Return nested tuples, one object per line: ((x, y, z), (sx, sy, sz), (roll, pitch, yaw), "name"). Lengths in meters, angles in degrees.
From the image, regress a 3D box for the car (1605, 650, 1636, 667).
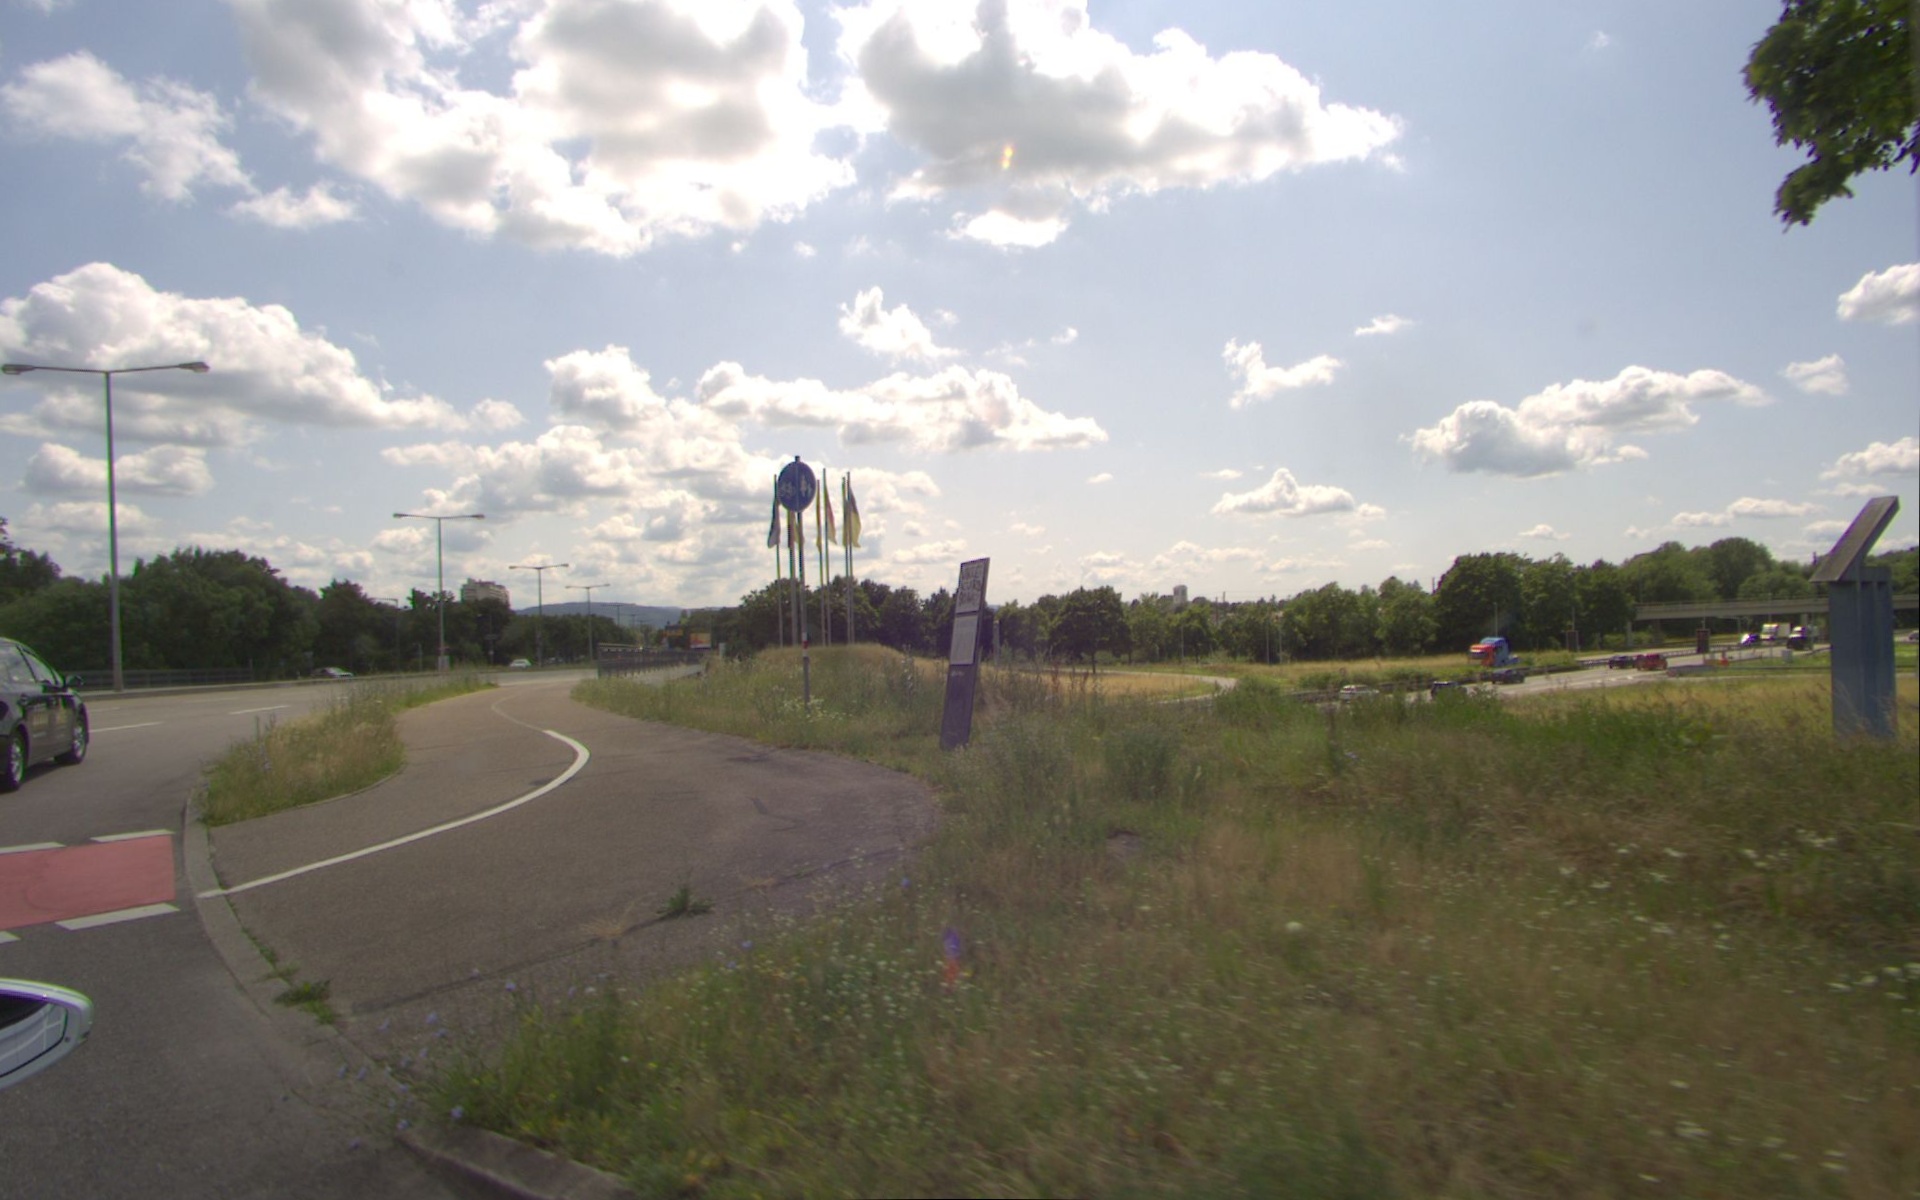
((82.281, 7.249, 124.811), (3.951, 2.039, 1.986), (1, -2, -36), "car")

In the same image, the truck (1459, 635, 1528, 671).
((70.114, 6.891, 131.524), (9.505, 4.459, 3.993), (1, -2, -33), "truck")

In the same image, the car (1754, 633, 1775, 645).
((139.807, 6.718, 174.007), (3.951, 2.039, 1.986), (1, -2, -36), "car")

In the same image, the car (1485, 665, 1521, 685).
((59.647, 8.169, 109.981), (3.951, 2.039, 1.986), (1, -2, -36), "car")

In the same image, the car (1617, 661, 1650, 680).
((77.217, 8.029, 114.794), (3.951, 2.039, 1.986), (1, -2, -36), "car")

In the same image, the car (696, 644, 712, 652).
((-53.444, 9.976, 209.323), (1.975, 1.683, 3.974), (1, -2, -35), "car")

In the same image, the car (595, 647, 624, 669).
((-28.481, 4.654, 81.376), (1.964, 1.683, 3.995), (0, -2, -16), "car")

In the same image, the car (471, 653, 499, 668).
((-51.721, 6.572, 109.089), (1.638, 1.431, 4.548), (-4, -1, -11), "car")

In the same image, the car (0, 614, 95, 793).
((-10.912, 1.040, 10.825), (1.761, 1.705, 3.977), (1, -2, -32), "car")

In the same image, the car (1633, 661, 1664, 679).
((83.590, 8.455, 121.575), (3.951, 2.039, 1.986), (1, -2, -36), "car")

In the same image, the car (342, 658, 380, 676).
((-60.274, 6.759, 100.903), (2.057, 1.647, 4.545), (0, -2, -14), "car")

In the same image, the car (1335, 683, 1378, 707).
((37.365, 8.900, 94.344), (3.951, 2.039, 1.986), (1, -2, -36), "car")
